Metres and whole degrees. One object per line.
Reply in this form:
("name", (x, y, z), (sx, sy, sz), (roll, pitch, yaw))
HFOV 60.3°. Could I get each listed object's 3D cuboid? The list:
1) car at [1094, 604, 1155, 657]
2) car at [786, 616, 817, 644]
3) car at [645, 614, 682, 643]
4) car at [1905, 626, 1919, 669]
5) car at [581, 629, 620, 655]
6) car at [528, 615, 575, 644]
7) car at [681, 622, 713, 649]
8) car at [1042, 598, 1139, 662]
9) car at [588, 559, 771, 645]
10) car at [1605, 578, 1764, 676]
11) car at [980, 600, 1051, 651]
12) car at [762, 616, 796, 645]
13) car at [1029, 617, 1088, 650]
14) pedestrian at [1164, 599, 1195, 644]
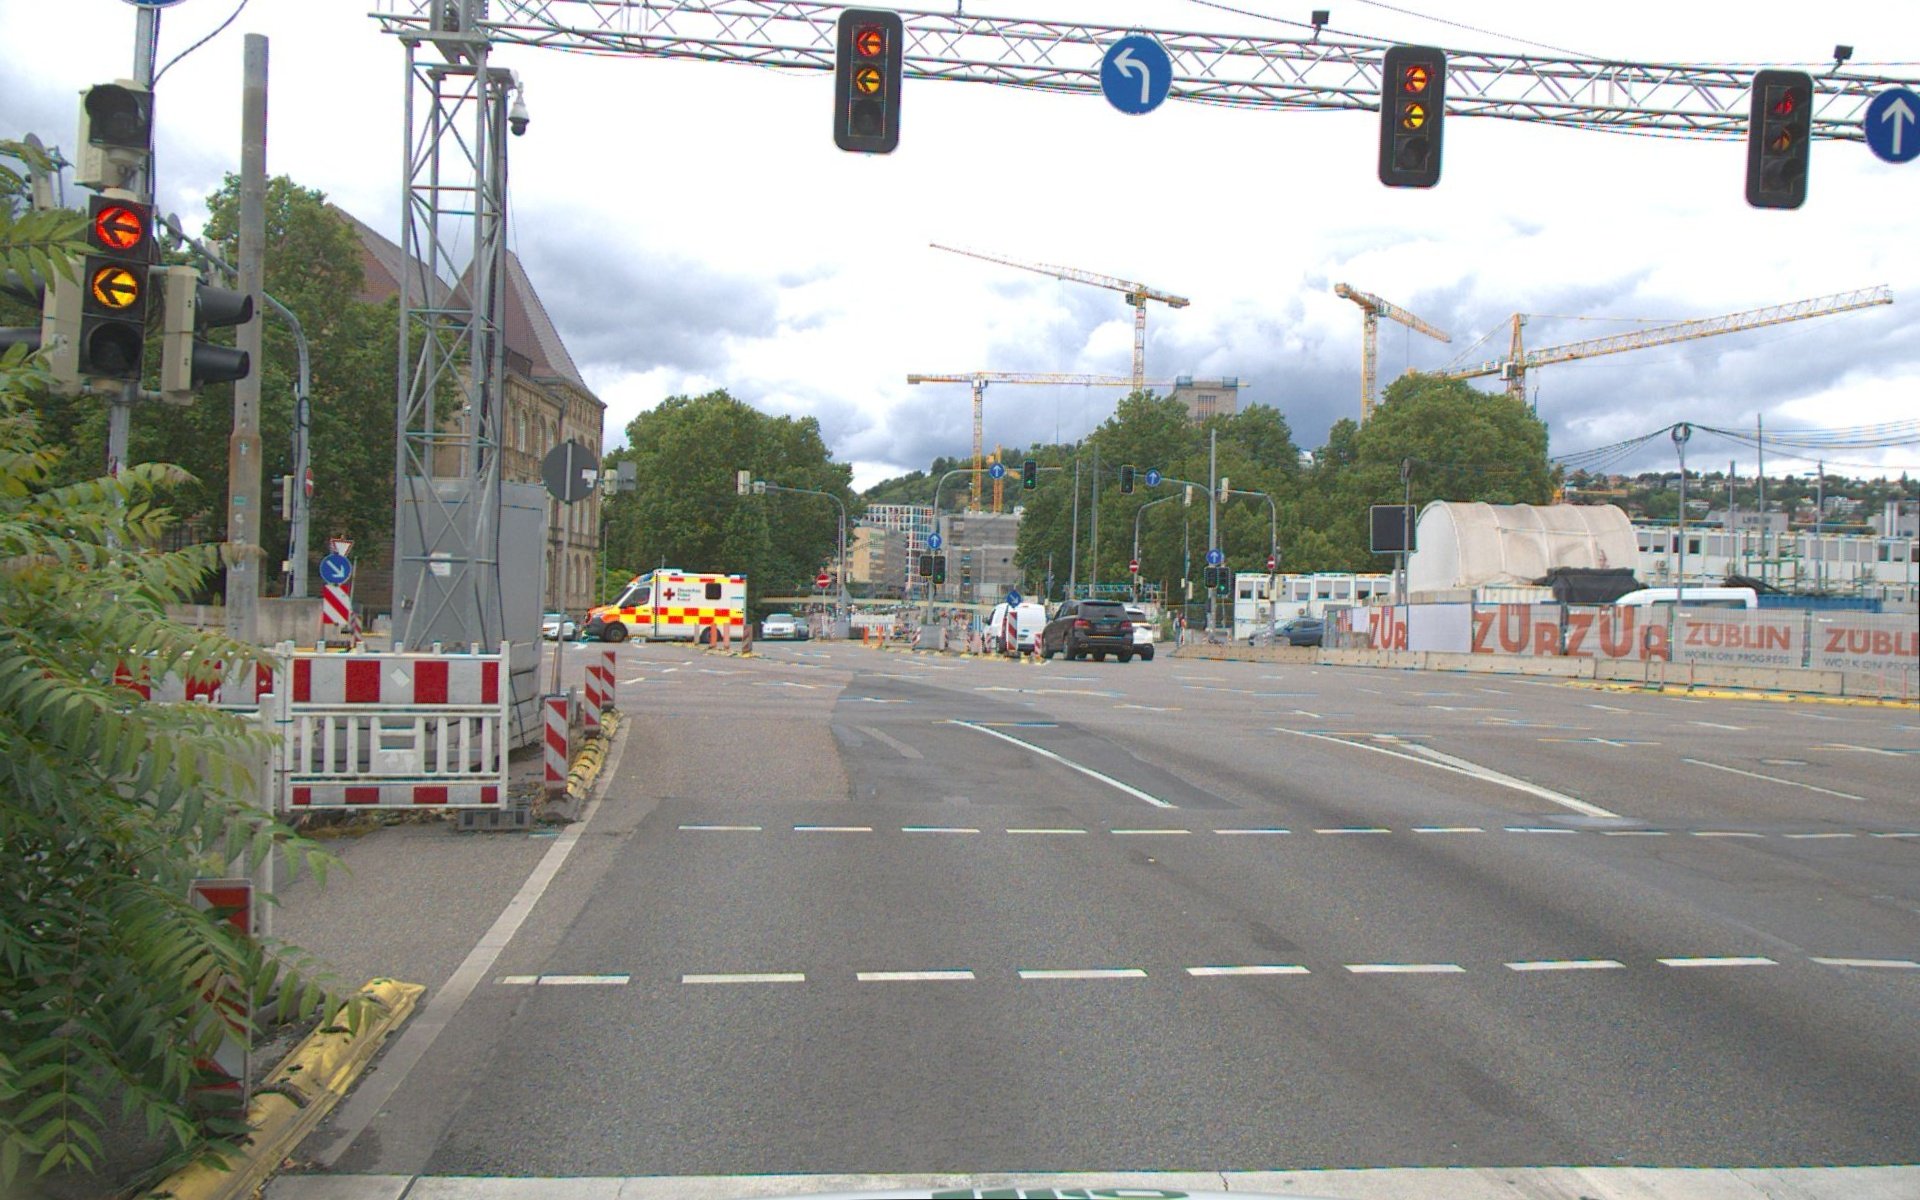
("car", (5.549, 1.007, 56.096), (1.642, 1.732, 3.374), (1, 0, -1))
("car", (-8.824, 1.651, 91.833), (1.644, 1.422, 3.677), (1, 0, -7))
("car", (-15.261, 1.434, 85.367), (1.644, 1.422, 3.677), (1, 0, -7))
("car", (36.113, 1.759, 60.857), (1.641, 1.554, 4.001), (1, 0, 20))
("car", (-21.596, 2.513, 99.420), (1.642, 1.422, 3.681), (1, 0, -2))
("car", (-21.286, 1.541, 86.320), (1.642, 1.422, 3.681), (1, 0, -3))
("car", (-14.781, 1.962, 93.042), (1.644, 1.422, 3.677), (1, 0, -7))
("car", (3.777, 0.845, 48.520), (1.799, 1.776, 4.245), (1, 0, -10))
("car", (-10.777, 0.108, 63.491), (6.636, 3.105, 2.359), (1, 0, -19))
("car", (20.822, 0.749, 47.674), (3.902, 2.708, 1.683), (1, -1, 13))
("car", (1.865, 0.859, 57.085), (1.783, 1.653, 3.993), (1, 0, -8))
("car", (-9.298, 1.535, 84.853), (1.644, 1.422, 3.677), (1, 0, -7))
("car", (4.507, 1.518, 76.029), (1.650, 1.422, 3.070), (1, 0, -19))
("pedestrian", (10.290, 1.005, 77.512), (1.075, 2.049, 1.181), (1, -1, -12))
